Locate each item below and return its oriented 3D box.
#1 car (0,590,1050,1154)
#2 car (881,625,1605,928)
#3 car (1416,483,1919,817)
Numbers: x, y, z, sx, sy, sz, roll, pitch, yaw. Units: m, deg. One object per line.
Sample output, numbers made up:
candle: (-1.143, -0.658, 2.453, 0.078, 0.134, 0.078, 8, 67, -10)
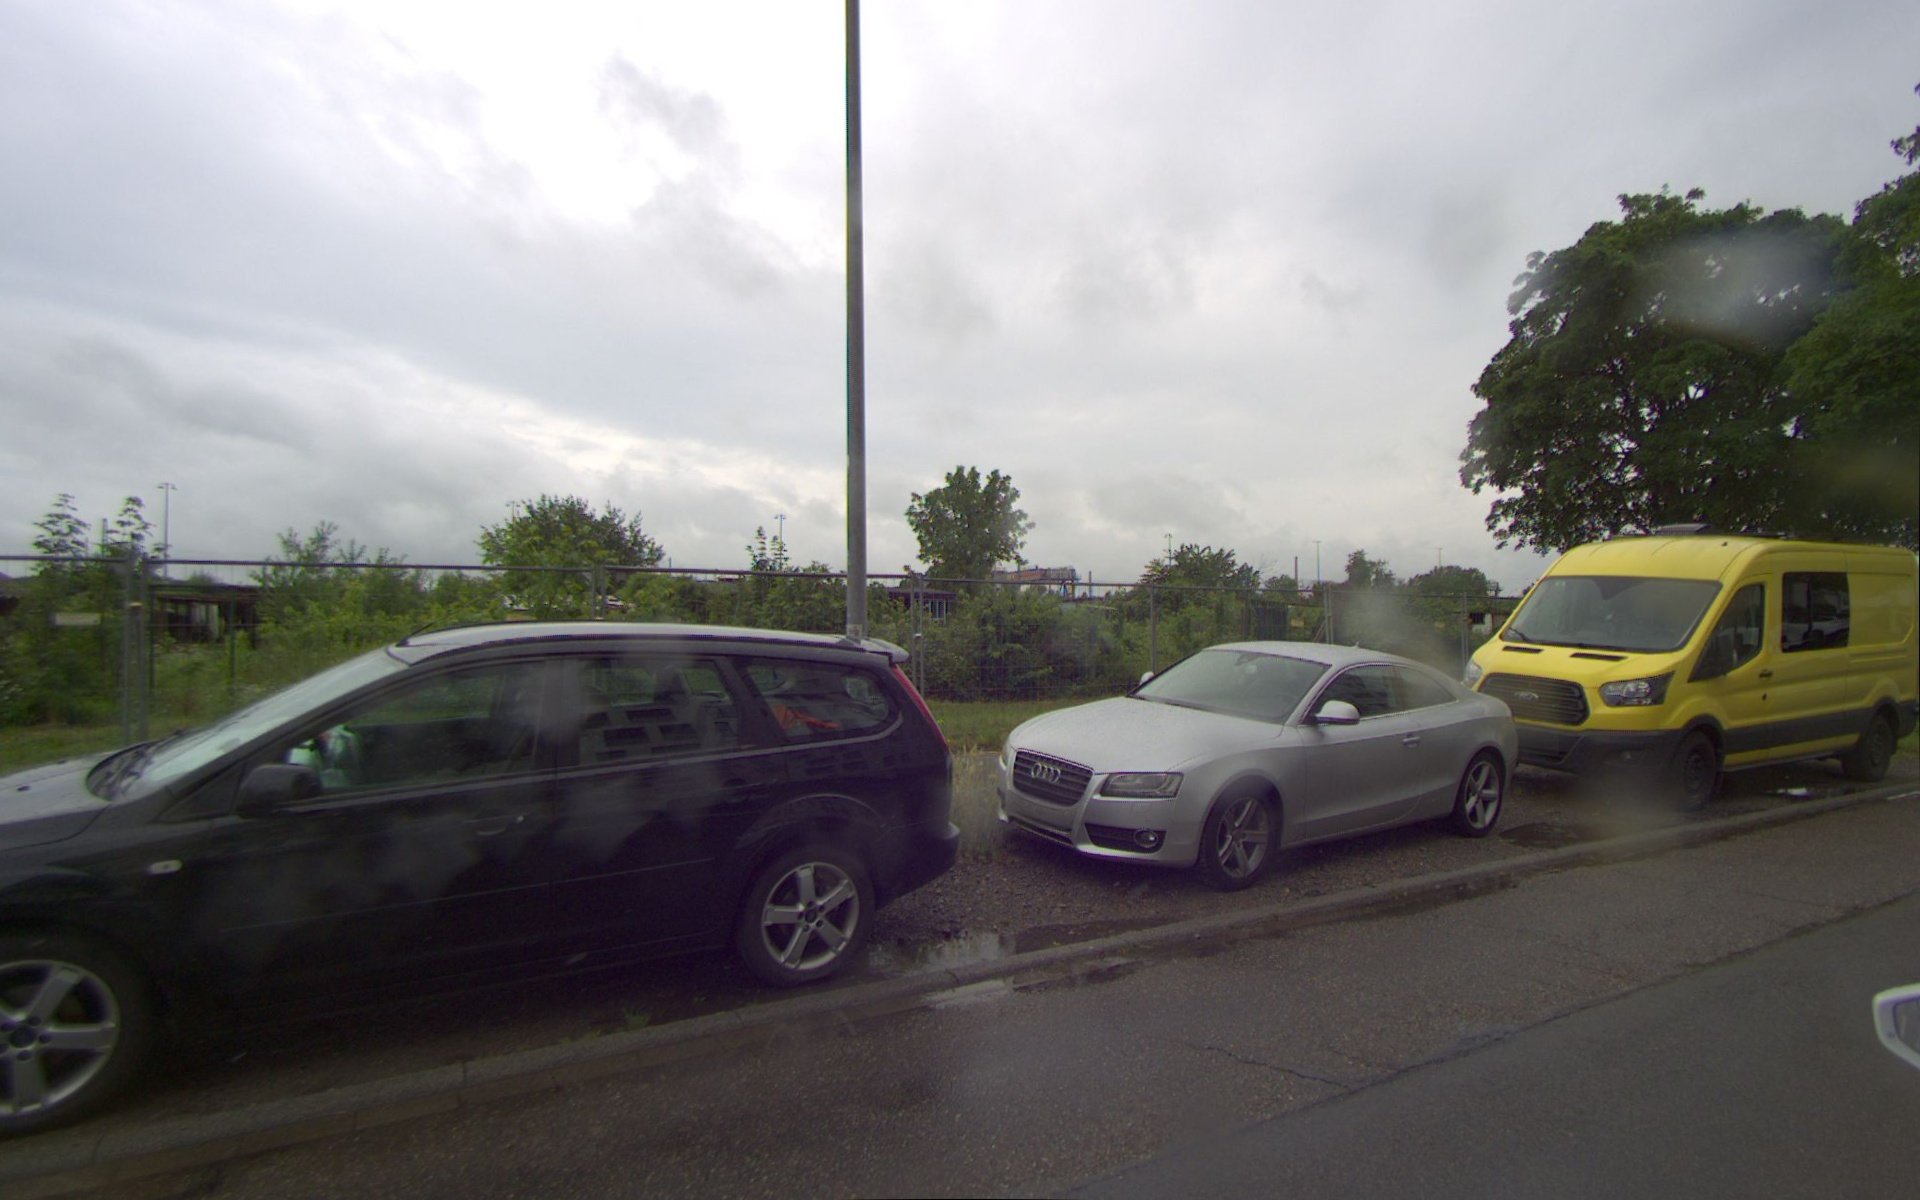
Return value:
car: (-2.194, 0.815, 4.443, 4.961, 1.615, 1.983, 1, 0, -32)
car: (2.236, 0.969, 7.316, 5.278, 1.453, 2.000, 1, 1, -31)
car: (7.771, 0.442, 10.632, 6.007, 2.730, 2.182, 1, 1, -29)
